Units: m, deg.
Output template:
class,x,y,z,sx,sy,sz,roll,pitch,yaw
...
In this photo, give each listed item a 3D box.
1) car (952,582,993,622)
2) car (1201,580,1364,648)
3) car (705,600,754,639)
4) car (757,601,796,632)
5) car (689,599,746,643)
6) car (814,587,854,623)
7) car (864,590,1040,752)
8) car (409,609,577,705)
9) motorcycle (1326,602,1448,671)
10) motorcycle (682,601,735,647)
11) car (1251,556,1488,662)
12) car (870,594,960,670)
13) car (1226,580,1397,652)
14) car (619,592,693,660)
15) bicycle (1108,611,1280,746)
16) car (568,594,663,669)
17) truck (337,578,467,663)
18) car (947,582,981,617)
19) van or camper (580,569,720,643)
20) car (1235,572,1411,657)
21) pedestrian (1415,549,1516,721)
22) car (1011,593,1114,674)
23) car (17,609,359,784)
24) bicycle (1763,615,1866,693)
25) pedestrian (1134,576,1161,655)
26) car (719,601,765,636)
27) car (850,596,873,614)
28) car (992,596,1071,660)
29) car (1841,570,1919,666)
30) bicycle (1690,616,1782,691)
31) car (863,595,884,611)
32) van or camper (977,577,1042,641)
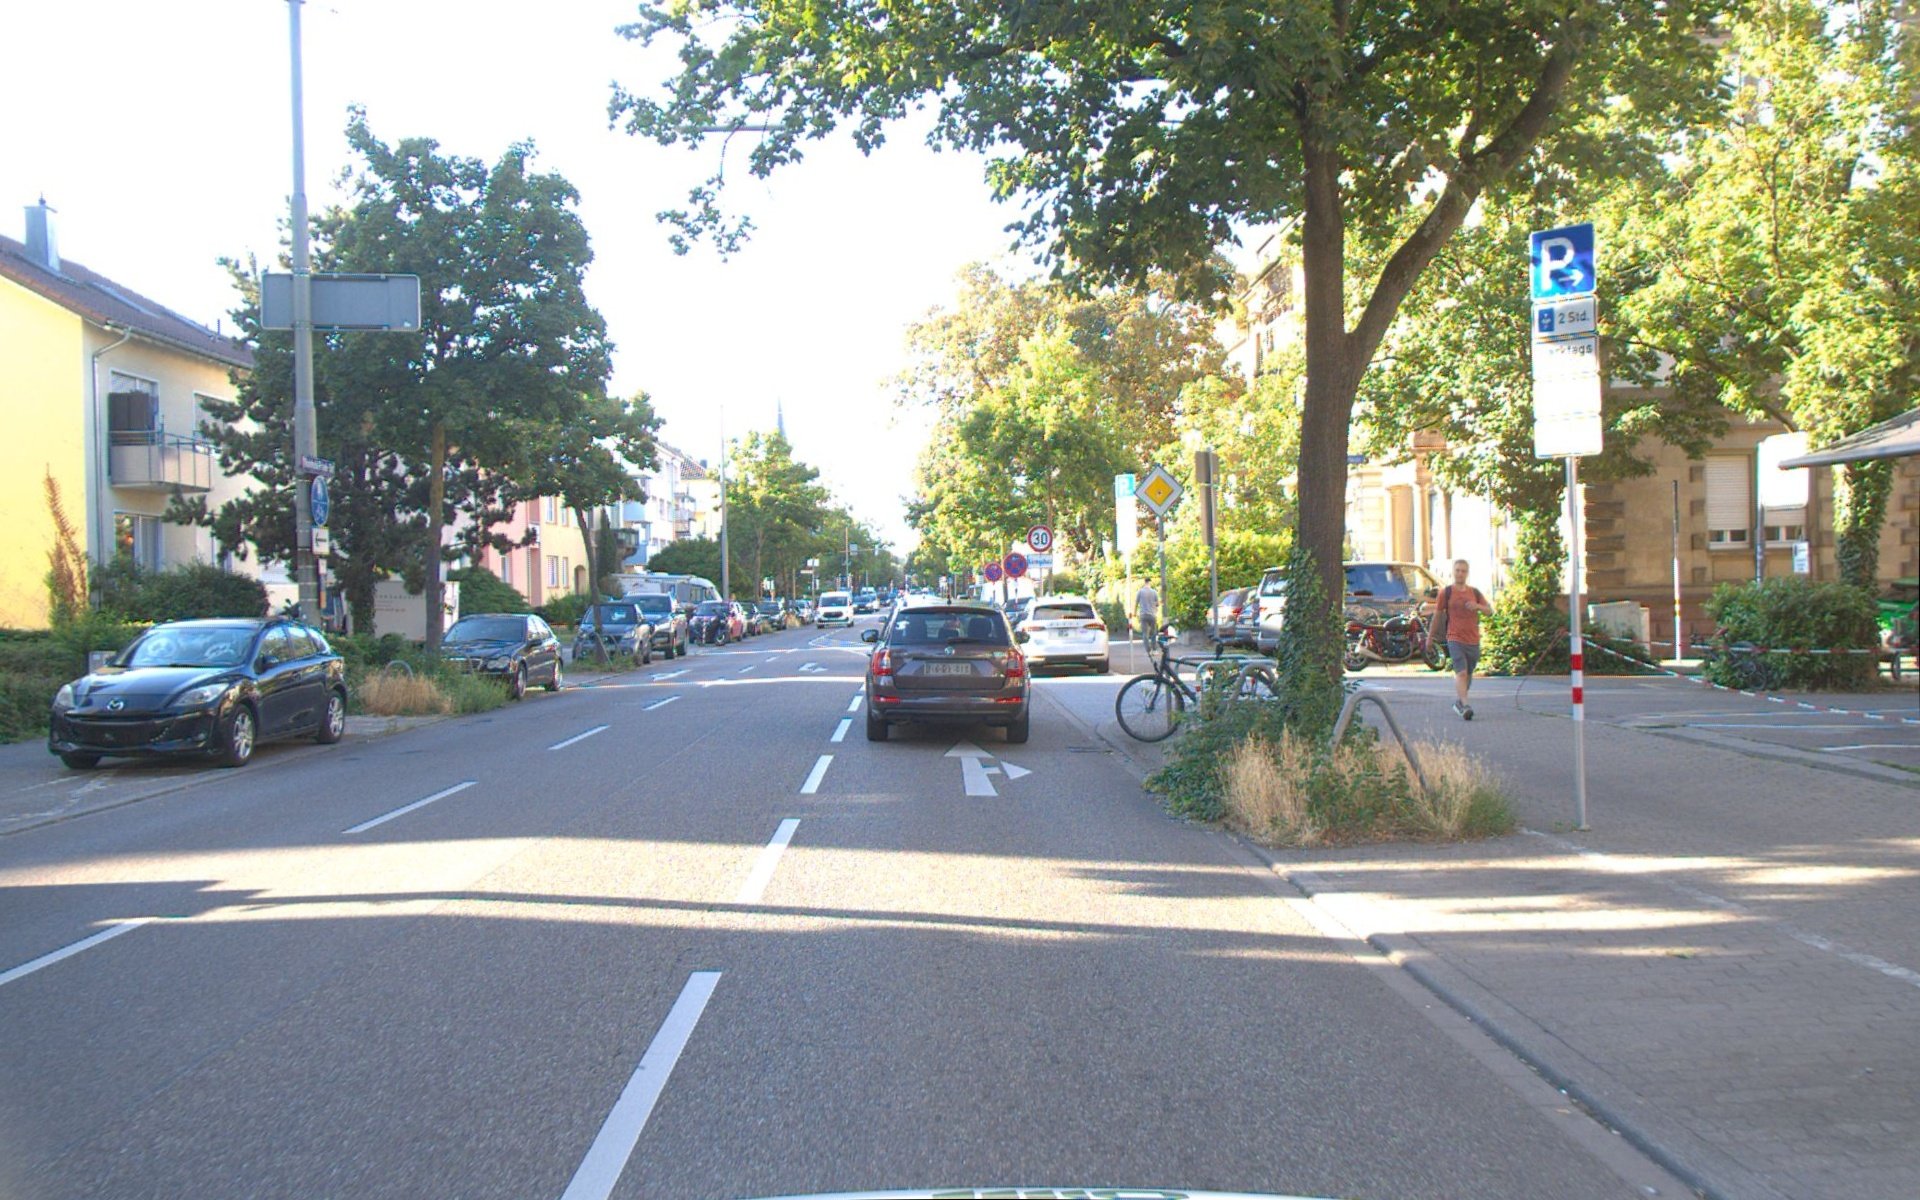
class,x,y,z,sx,sy,sz,roll,pitch,yaw
car,0.583,0.084,79.714,1.695,1.847,3.948,-1,1,-3
car,7.960,0.333,40.812,3.749,1.552,1.501,-1,0,-24
car,-9.428,0.784,67.774,1.631,1.457,3.274,-1,1,-2
car,-9.239,0.833,83.499,1.631,1.457,3.274,-1,1,-2
car,-9.072,0.760,62.094,1.631,1.538,4.177,-1,1,-2
car,-6.547,0.257,86.207,1.839,1.788,4.177,-1,1,-2
car,-0.106,0.684,18.133,1.694,1.520,3.950,-1,1,-1
car,-8.070,0.935,28.973,1.718,1.445,4.425,-1,1,-1
motorcycle,7.510,0.633,29.093,2.012,1.144,0.525,-1,0,-7
motorcycle,-8.693,0.808,57.139,0.761,1.538,1.997,-1,1,-44
car,8.114,0.145,32.695,4.484,1.926,1.896,-2,0,-30
car,-1.041,0.647,36.182,1.696,1.520,3.946,-1,1,-5
car,8.219,0.352,38.697,3.749,1.552,1.501,-1,0,-24
car,-8.575,0.696,46.811,1.476,1.788,3.692,-1,1,-2
bicycle,2.389,0.788,16.801,1.635,1.247,0.636,-3,0,11
car,-8.718,0.763,42.140,1.715,1.771,3.590,-1,1,-2
truck,-14.615,0.520,43.400,2.855,2.130,1.545,-1,0,-2
car,0.206,-0.049,92.197,1.695,1.847,3.948,-1,1,-3
van or camper,-17.402,0.332,93.069,7.489,3.942,1.999,-1,0,-4
car,7.941,0.284,36.072,3.762,1.708,1.496,-2,1,-32
pedestrian,5.555,0.369,18.202,0.741,1.827,0.905,-1,0,-7
car,1.954,0.609,32.551,1.783,1.438,4.111,-1,1,0
car,-7.957,0.912,17.522,1.682,1.523,4.246,-1,1,-1
bicycle,11.290,0.699,21.899,0.335,0.967,1.579,-3,0,-7
pedestrian,4.370,0.357,38.634,0.524,1.825,0.687,-1,0,0
car,-9.523,0.790,72.317,1.631,1.457,3.274,-1,1,-2
car,-9.020,0.443,151.380,1.953,1.534,3.999,-1,0,-2
car,1.722,0.644,41.008,1.783,1.438,4.111,-1,1,0
car,17.848,0.260,28.945,3.838,1.612,1.929,-1,1,-1
bicycle,10.516,0.711,22.462,0.335,0.967,1.579,1,0,-7
car,-8.654,0.261,165.110,1.953,1.534,3.999,-1,0,-2
van or camper,1.648,0.272,56.446,1.953,2.049,3.999,-1,1,-2
